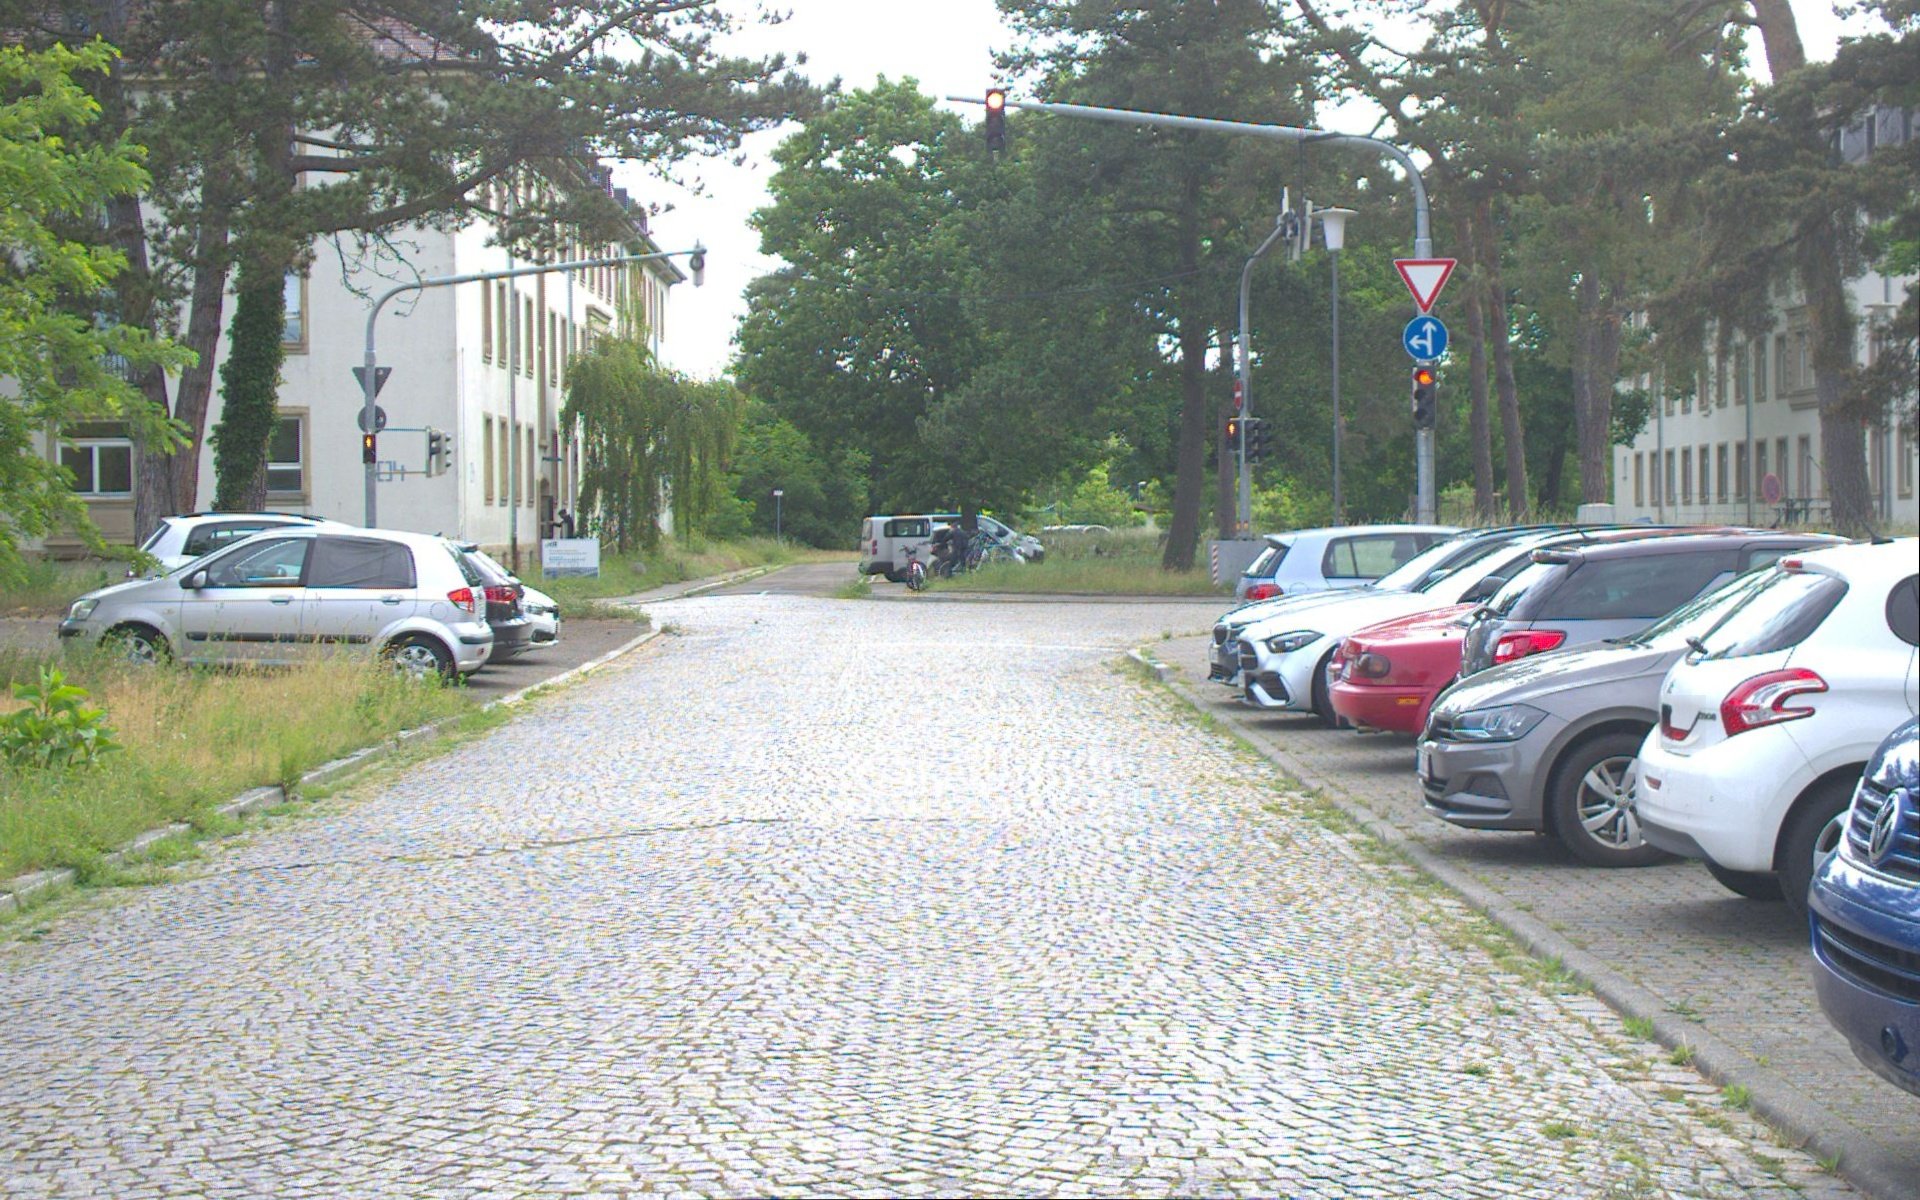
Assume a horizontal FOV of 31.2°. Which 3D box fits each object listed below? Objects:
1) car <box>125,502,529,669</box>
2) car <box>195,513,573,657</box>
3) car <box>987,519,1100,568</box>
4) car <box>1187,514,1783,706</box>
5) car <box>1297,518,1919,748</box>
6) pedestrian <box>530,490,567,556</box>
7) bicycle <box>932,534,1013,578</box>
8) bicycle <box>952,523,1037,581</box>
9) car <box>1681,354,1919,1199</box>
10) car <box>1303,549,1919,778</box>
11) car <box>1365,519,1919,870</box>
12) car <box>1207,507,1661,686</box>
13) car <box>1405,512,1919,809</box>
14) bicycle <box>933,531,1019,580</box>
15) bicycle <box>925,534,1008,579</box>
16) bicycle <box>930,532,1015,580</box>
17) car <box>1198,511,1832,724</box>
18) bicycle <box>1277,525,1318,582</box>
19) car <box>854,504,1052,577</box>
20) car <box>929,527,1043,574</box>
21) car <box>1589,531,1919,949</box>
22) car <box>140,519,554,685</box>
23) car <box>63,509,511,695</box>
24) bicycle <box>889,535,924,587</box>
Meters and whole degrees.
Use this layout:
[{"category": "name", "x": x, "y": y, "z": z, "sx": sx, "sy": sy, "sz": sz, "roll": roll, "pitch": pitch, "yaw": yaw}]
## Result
[{"category": "car", "x": -6.606, "y": -0.167, "z": 36.163, "sx": 3.947, "sy": 1.558, "sz": 1.650, "roll": 2, "pitch": 1, "yaw": -3}, {"category": "car", "x": -6.436, "y": -0.184, "z": 38.707, "sx": 3.947, "sy": 1.416, "sz": 1.650, "roll": 2, "pitch": 1, "yaw": -1}, {"category": "car", "x": 2.467, "y": -1.699, "z": 102.418, "sx": 3.231, "sy": 1.411, "sz": 1.725, "roll": -1, "pitch": 1, "yaw": -3}, {"category": "car", "x": 4.382, "y": 0.058, "z": 29.174, "sx": 4.680, "sy": 1.411, "sz": 1.871, "roll": -2, "pitch": 1, "yaw": -2}, {"category": "car", "x": 4.624, "y": 0.199, "z": 24.222, "sx": 4.261, "sy": 1.411, "sz": 1.871, "roll": -2, "pitch": 1, "yaw": -1}, {"category": "pedestrian", "x": -11.501, "y": -2.150, "z": 96.139, "sx": 0.774, "sy": 1.831, "sz": 0.741, "roll": -1, "pitch": 1, "yaw": -32}, {"category": "bicycle", "x": 0.305, "y": -1.081, "z": 83.920, "sx": 1.955, "sy": 1.066, "sz": 0.588, "roll": -1, "pitch": 1, "yaw": -30}, {"category": "bicycle", "x": 0.824, "y": -1.144, "z": 81.917, "sx": 1.954, "sy": 1.379, "sz": 0.588, "roll": 0, "pitch": 1, "yaw": -7}, {"category": "car", "x": 4.343, "y": 0.360, "z": 8.051, "sx": 4.807, "sy": 1.939, "sz": 2.003, "roll": -2, "pitch": 1, "yaw": -1}, {"category": "car", "x": 4.218, "y": 0.368, "z": 21.664, "sx": 3.862, "sy": 1.232, "sz": 1.758, "roll": -2, "pitch": 1, "yaw": -1}, {"category": "car", "x": 3.988, "y": 0.382, "z": 16.268, "sx": 3.862, "sy": 1.467, "sz": 1.758, "roll": -2, "pitch": 1, "yaw": -1}, {"category": "car", "x": 4.308, "y": -0.050, "z": 31.625, "sx": 3.927, "sy": 1.472, "sz": 1.642, "roll": -2, "pitch": 1, "yaw": 1}, {"category": "car", "x": 4.559, "y": 0.281, "z": 19.111, "sx": 3.862, "sy": 1.467, "sz": 1.758, "roll": -2, "pitch": 1, "yaw": -1}, {"category": "bicycle", "x": 0.363, "y": -1.053, "z": 80.453, "sx": 1.954, "sy": 1.128, "sz": 0.588, "roll": 0, "pitch": 1, "yaw": -7}, {"category": "bicycle", "x": 0.168, "y": -1.053, "z": 82.570, "sx": 1.955, "sy": 1.066, "sz": 0.588, "roll": -1, "pitch": 1, "yaw": -30}, {"category": "bicycle", "x": 0.292, "y": -1.044, "z": 81.086, "sx": 1.954, "sy": 1.113, "sz": 0.588, "roll": 0, "pitch": 1, "yaw": -7}, {"category": "car", "x": 4.226, "y": 0.098, "z": 26.488, "sx": 4.421, "sy": 1.411, "sz": 1.871, "roll": -2, "pitch": 1, "yaw": -9}, {"category": "bicycle", "x": 6.701, "y": -0.934, "z": 68.360, "sx": 0.586, "sy": 1.102, "sz": 1.962, "roll": 0, "pitch": 1, "yaw": -1}, {"category": "car", "x": -0.223, "y": -1.719, "z": 98.528, "sx": 5.359, "sy": 1.918, "sz": 2.025, "roll": -2, "pitch": 1, "yaw": -9}, {"category": "car", "x": 0.705, "y": -1.373, "z": 95.173, "sx": 3.005, "sy": 1.264, "sz": 1.535, "roll": -1, "pitch": 1, "yaw": -6}, {"category": "car", "x": 4.579, "y": 0.447, "z": 13.406, "sx": 3.862, "sy": 1.467, "sz": 1.758, "roll": -2, "pitch": 1, "yaw": -1}, {"category": "car", "x": -5.904, "y": 0.001, "z": 33.388, "sx": 3.745, "sy": 1.424, "sz": 1.583, "roll": 2, "pitch": 1, "yaw": -3}, {"category": "car", "x": -5.971, "y": 0.000, "z": 30.790, "sx": 3.702, "sy": 1.474, "sz": 1.583, "roll": 2, "pitch": 1, "yaw": -3}, {"category": "bicycle", "x": -1.208, "y": -0.879, "z": 77.255, "sx": 0.603, "sy": 1.128, "sz": 1.962, "roll": 0, "pitch": 1, "yaw": -6}]
